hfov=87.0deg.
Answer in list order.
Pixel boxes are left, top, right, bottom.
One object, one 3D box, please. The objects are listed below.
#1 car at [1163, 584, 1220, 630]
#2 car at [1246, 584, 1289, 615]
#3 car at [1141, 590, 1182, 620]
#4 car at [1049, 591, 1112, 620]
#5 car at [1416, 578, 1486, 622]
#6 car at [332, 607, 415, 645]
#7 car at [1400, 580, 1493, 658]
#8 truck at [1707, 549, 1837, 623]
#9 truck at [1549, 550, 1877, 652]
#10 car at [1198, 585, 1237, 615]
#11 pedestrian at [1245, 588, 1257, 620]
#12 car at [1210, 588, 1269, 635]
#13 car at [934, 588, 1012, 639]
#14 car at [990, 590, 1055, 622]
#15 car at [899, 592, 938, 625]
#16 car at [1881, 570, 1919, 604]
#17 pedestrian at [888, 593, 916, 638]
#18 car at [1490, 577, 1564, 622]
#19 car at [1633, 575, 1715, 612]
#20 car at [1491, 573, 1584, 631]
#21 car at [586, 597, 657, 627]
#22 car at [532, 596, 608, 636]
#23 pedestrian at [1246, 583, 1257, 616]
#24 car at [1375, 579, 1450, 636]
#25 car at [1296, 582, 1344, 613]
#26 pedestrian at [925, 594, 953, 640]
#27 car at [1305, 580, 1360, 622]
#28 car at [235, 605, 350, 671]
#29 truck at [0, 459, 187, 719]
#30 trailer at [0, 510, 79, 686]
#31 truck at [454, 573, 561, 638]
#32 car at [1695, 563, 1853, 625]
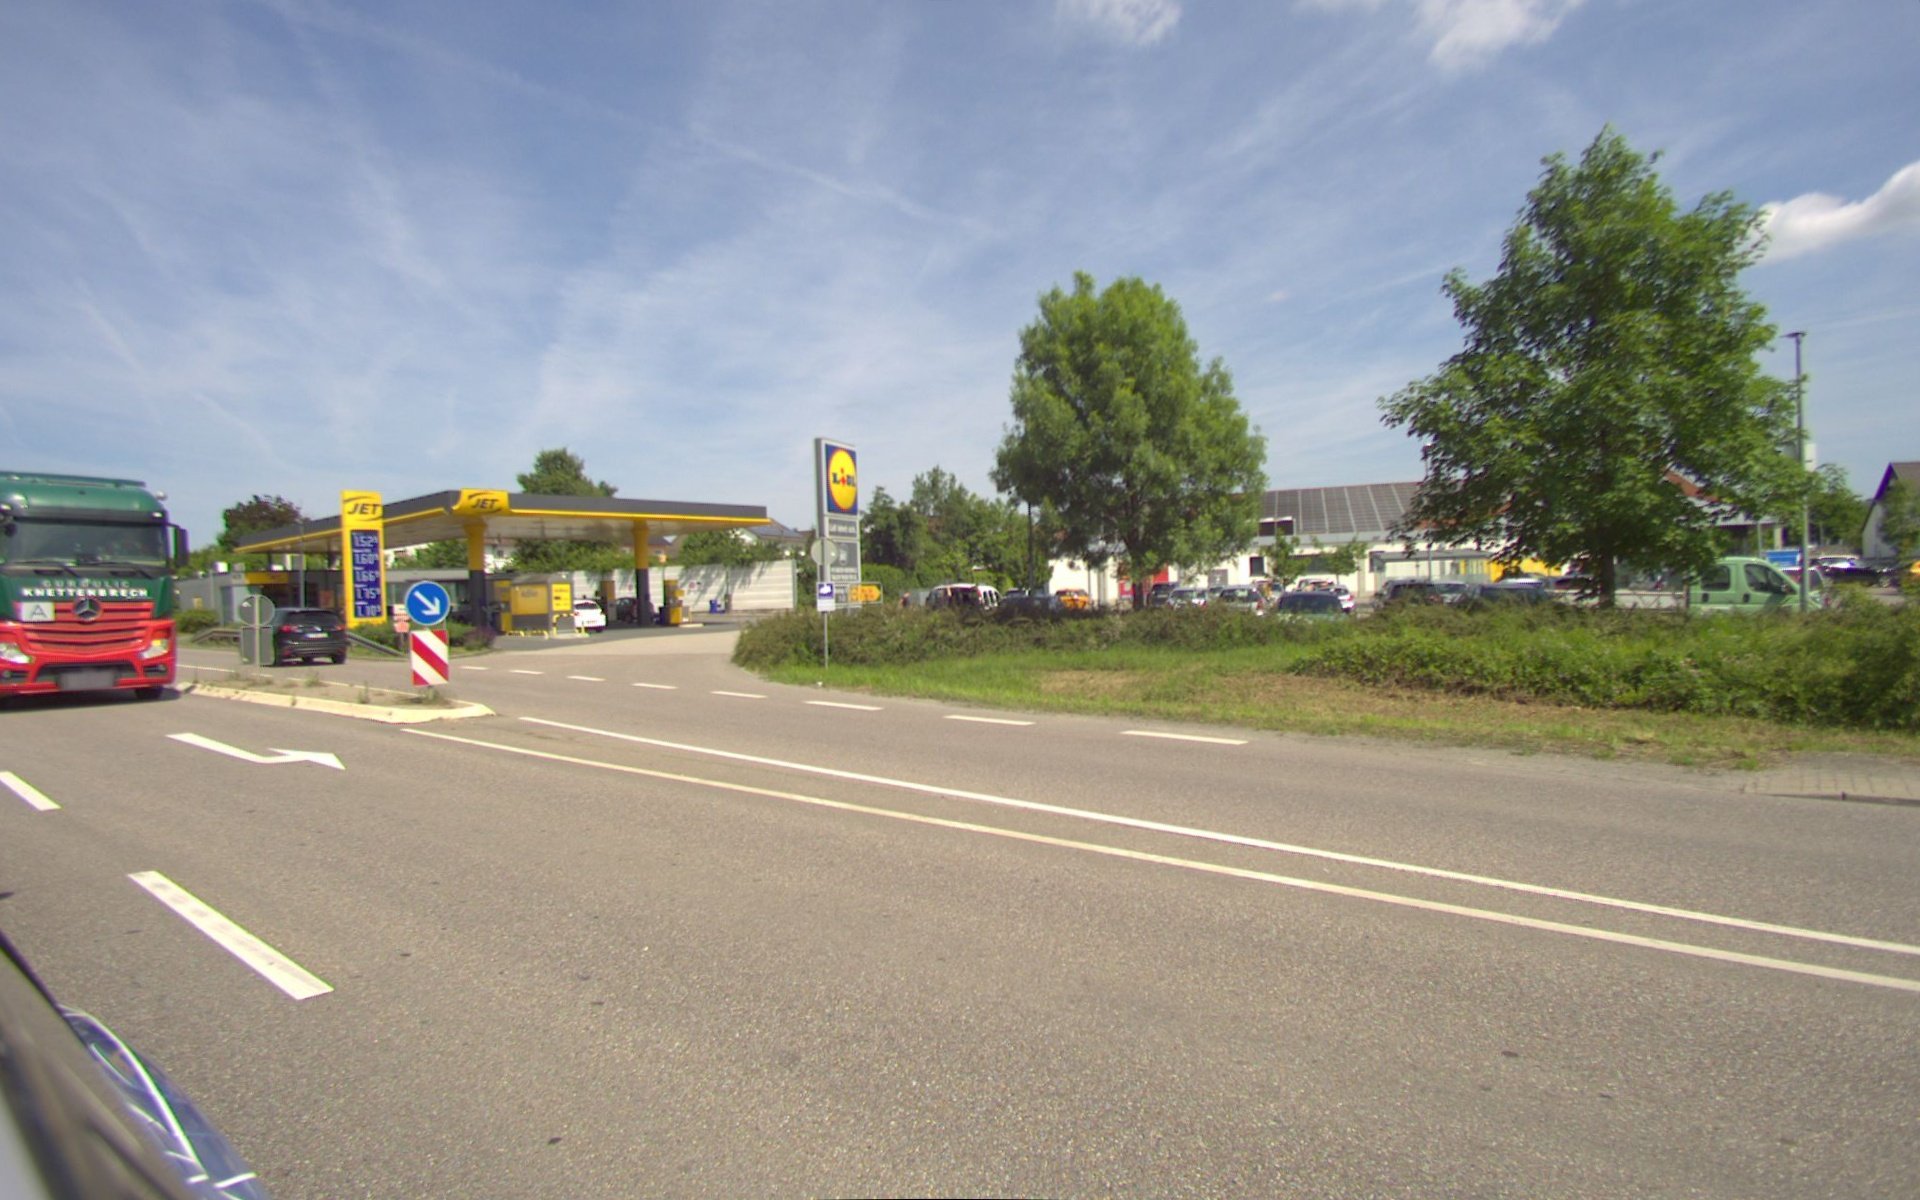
[{"bbox_3d":[9.322,0.235,40.481,1.850,1.688,4.399,-1,0,17],"label":"car"},{"bbox_3d":[15.534,-0.052,51.264,1.868,1.453,3.981,-1,1,15],"label":"car"},{"bbox_3d":[10.452,0.230,52.290,1.868,1.453,3.981,-1,1,15],"label":"car"},{"bbox_3d":[6.497,0.281,54.313,1.879,1.453,3.958,-1,1,31],"label":"car"},{"bbox_3d":[18.315,-0.009,37.933,1.764,1.540,3.977,0,0,17],"label":"car"},{"bbox_3d":[-27.740,1.250,47.826,4.258,1.719,1.975,-2,-1,38],"label":"car"},{"bbox_3d":[11.408,0.400,23.945,1.683,1.670,3.971,0,0,22],"label":"car"},{"bbox_3d":[27.858,-0.459,34.890,1.981,2.383,3.982,0,0,14],"label":"truck"},{"bbox_3d":[19.024,0.080,26.033,6.301,2.393,2.234,-1,-1,20],"label":"truck"},{"bbox_3d":[13.297,-0.026,52.232,1.868,1.453,3.981,-1,1,15],"label":"car"},{"bbox_3d":[13.946,0.191,48.532,0.502,1.564,0.514,-1,0,19],"label":"pedestrian"},{"bbox_3d":[9.868,0.364,35.599,1.769,1.513,4.122,-1,1,18],"label":"car"},{"bbox_3d":[0.577,0.483,38.722,1.865,1.825,4.145,-1,0,17],"label":"car"},{"bbox_3d":[3.406,0.305,54.504,1.765,1.551,3.956,-2,0,33],"label":"car"},{"bbox_3d":[-2.163,0.404,51.787,1.743,1.551,4.005,-3,0,-5],"label":"car"},{"bbox_3d":[45.108,-0.595,46.092,4.223,1.553,1.869,0,0,18],"label":"car"},{"bbox_3d":[-2.071,0.566,36.167,0.692,1.587,0.812,0,-1,-30],"label":"pedestrian"},{"bbox_3d":[20.571,-0.027,36.859,1.767,1.540,3.972,0,0,21],"label":"car"},{"bbox_3d":[31.485,-0.276,44.763,1.865,1.553,4.231,0,0,20],"label":"car"},{"bbox_3d":[18.196,0.055,32.057,1.912,1.701,3.973,0,0,20],"label":"car"},{"bbox_3d":[-19.340,0.677,57.765,3.862,1.625,1.735,-1,-1,31],"label":"car"},{"bbox_3d":[-17.781,0.778,46.075,4.001,1.741,1.713,-2,-3,44],"label":"car"},{"bbox_3d":[13.761,-0.012,47.786,0.501,1.564,0.514,-1,0,17],"label":"pedestrian"},{"bbox_3d":[14.651,0.208,32.939,1.898,1.687,3.974,-1,1,20],"label":"car"},{"bbox_3d":[17.940,-0.167,50.568,1.868,1.453,3.981,-1,1,15],"label":"car"},{"bbox_3d":[-0.740,0.597,35.822,0.801,1.587,0.701,-1,0,13],"label":"pedestrian"},{"bbox_3d":[14.258,0.025,38.937,1.764,1.540,3.977,0,0,17],"label":"car"},{"bbox_3d":[-19.562,1.073,29.594,4.109,1.763,1.846,-2,-1,42],"label":"car"},{"bbox_3d":[-17.806,-0.101,19.406,10.043,3.950,2.641,-1,0,41],"label":"truck"},{"bbox_3d":[-24.878,0.040,25.486,8.664,3.950,2.773,-1,0,41],"label":"trailer"},{"bbox_3d":[-22.123,0.261,49.313,6.278,2.944,2.222,0,0,40],"label":"truck"},{"bbox_3d":[24.204,-0.159,30.329,1.981,1.708,4.408,-1,0,14],"label":"car"}]
